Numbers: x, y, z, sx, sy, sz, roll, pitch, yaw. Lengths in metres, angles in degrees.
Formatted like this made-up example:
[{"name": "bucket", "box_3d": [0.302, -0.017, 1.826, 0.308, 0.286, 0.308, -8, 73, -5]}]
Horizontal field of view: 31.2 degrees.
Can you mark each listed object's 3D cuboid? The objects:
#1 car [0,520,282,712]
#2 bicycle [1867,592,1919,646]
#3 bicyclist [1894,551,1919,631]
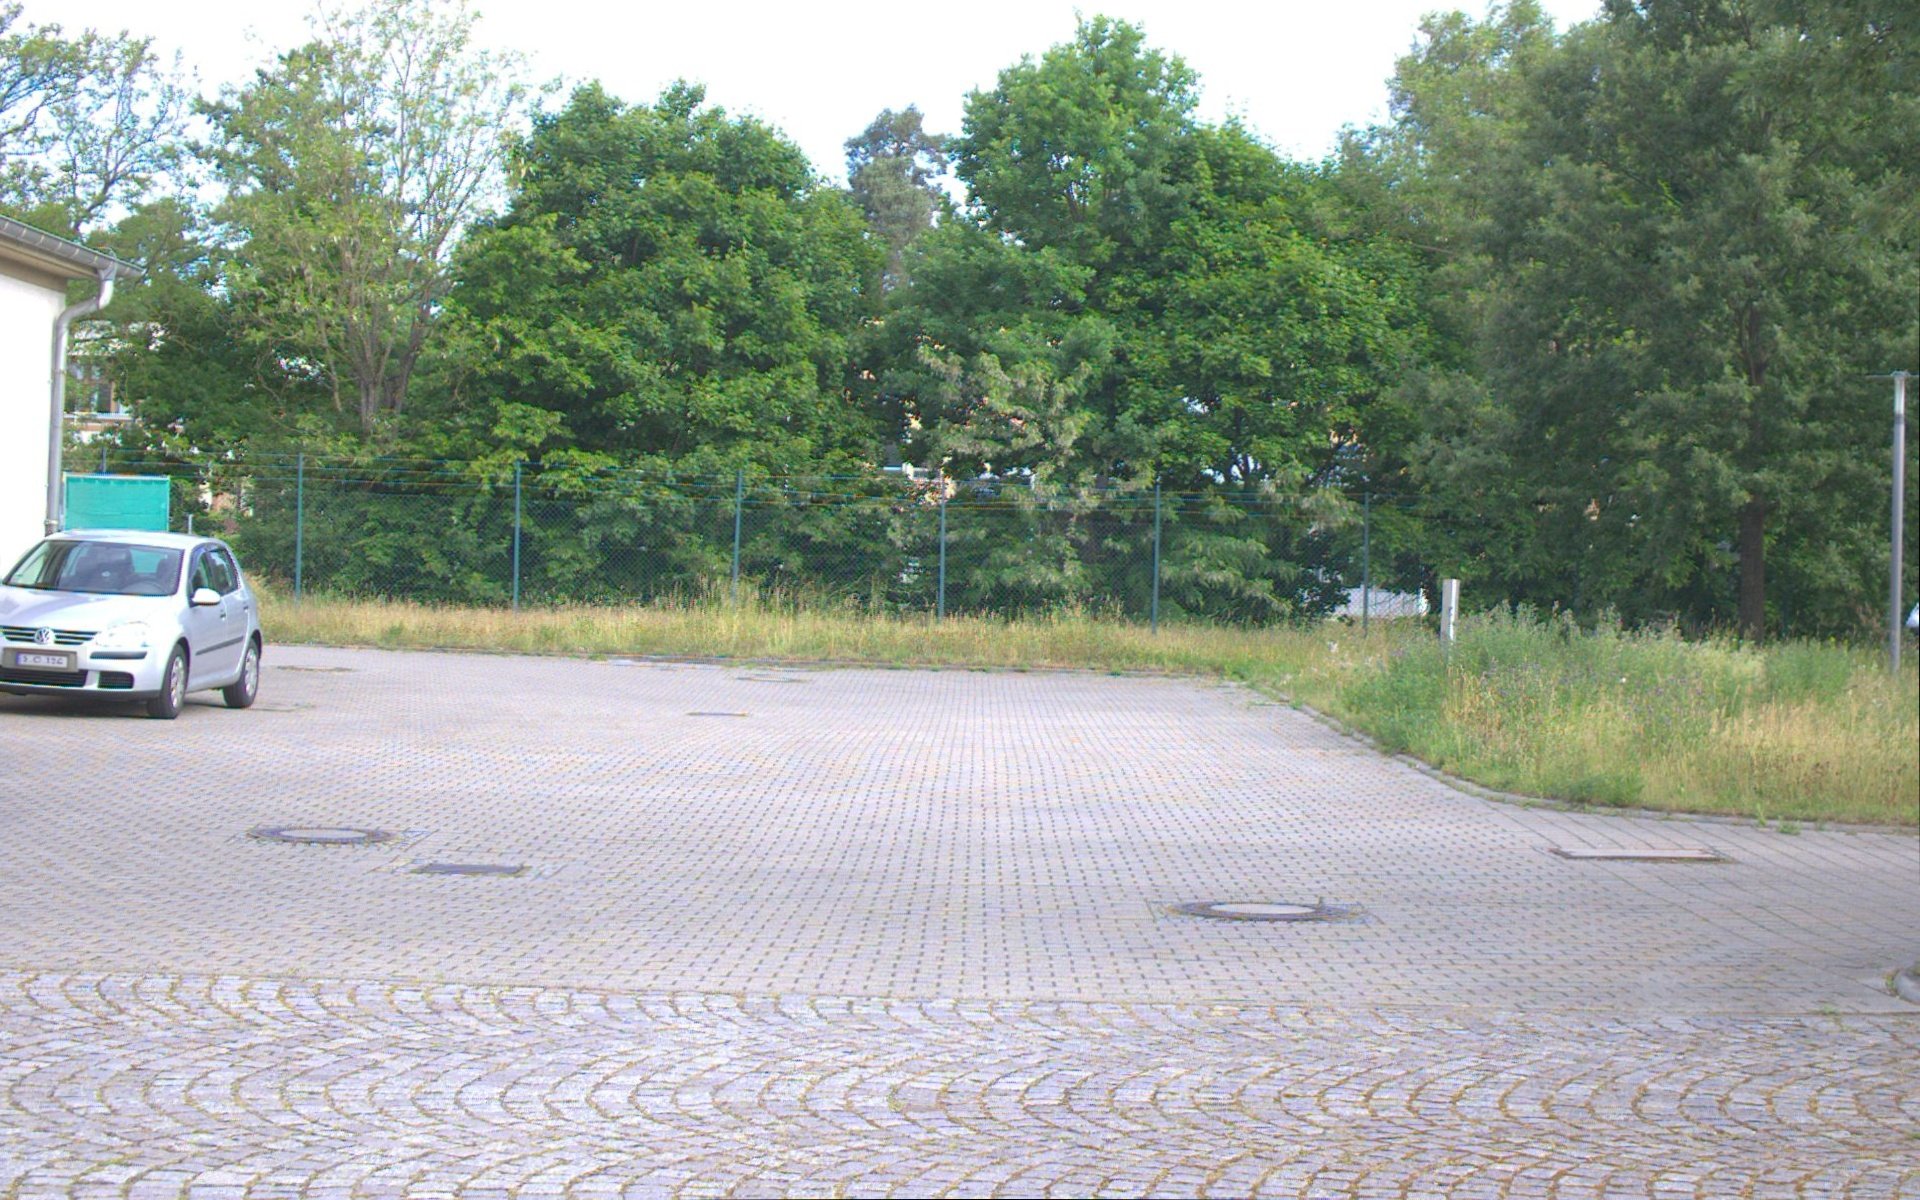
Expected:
[{"name": "car", "box_3d": [-7.039, 0.085, 28.682, 1.924, 1.434, 4.368, 2, 1, -1]}, {"name": "bicycle", "box_3d": [14.729, 0.301, 52.641, 1.517, 0.788, 0.588, 2, 1, 0]}, {"name": "bicyclist", "box_3d": [14.794, -0.129, 52.646, 0.769, 1.202, 0.588, 2, 1, 0]}]
